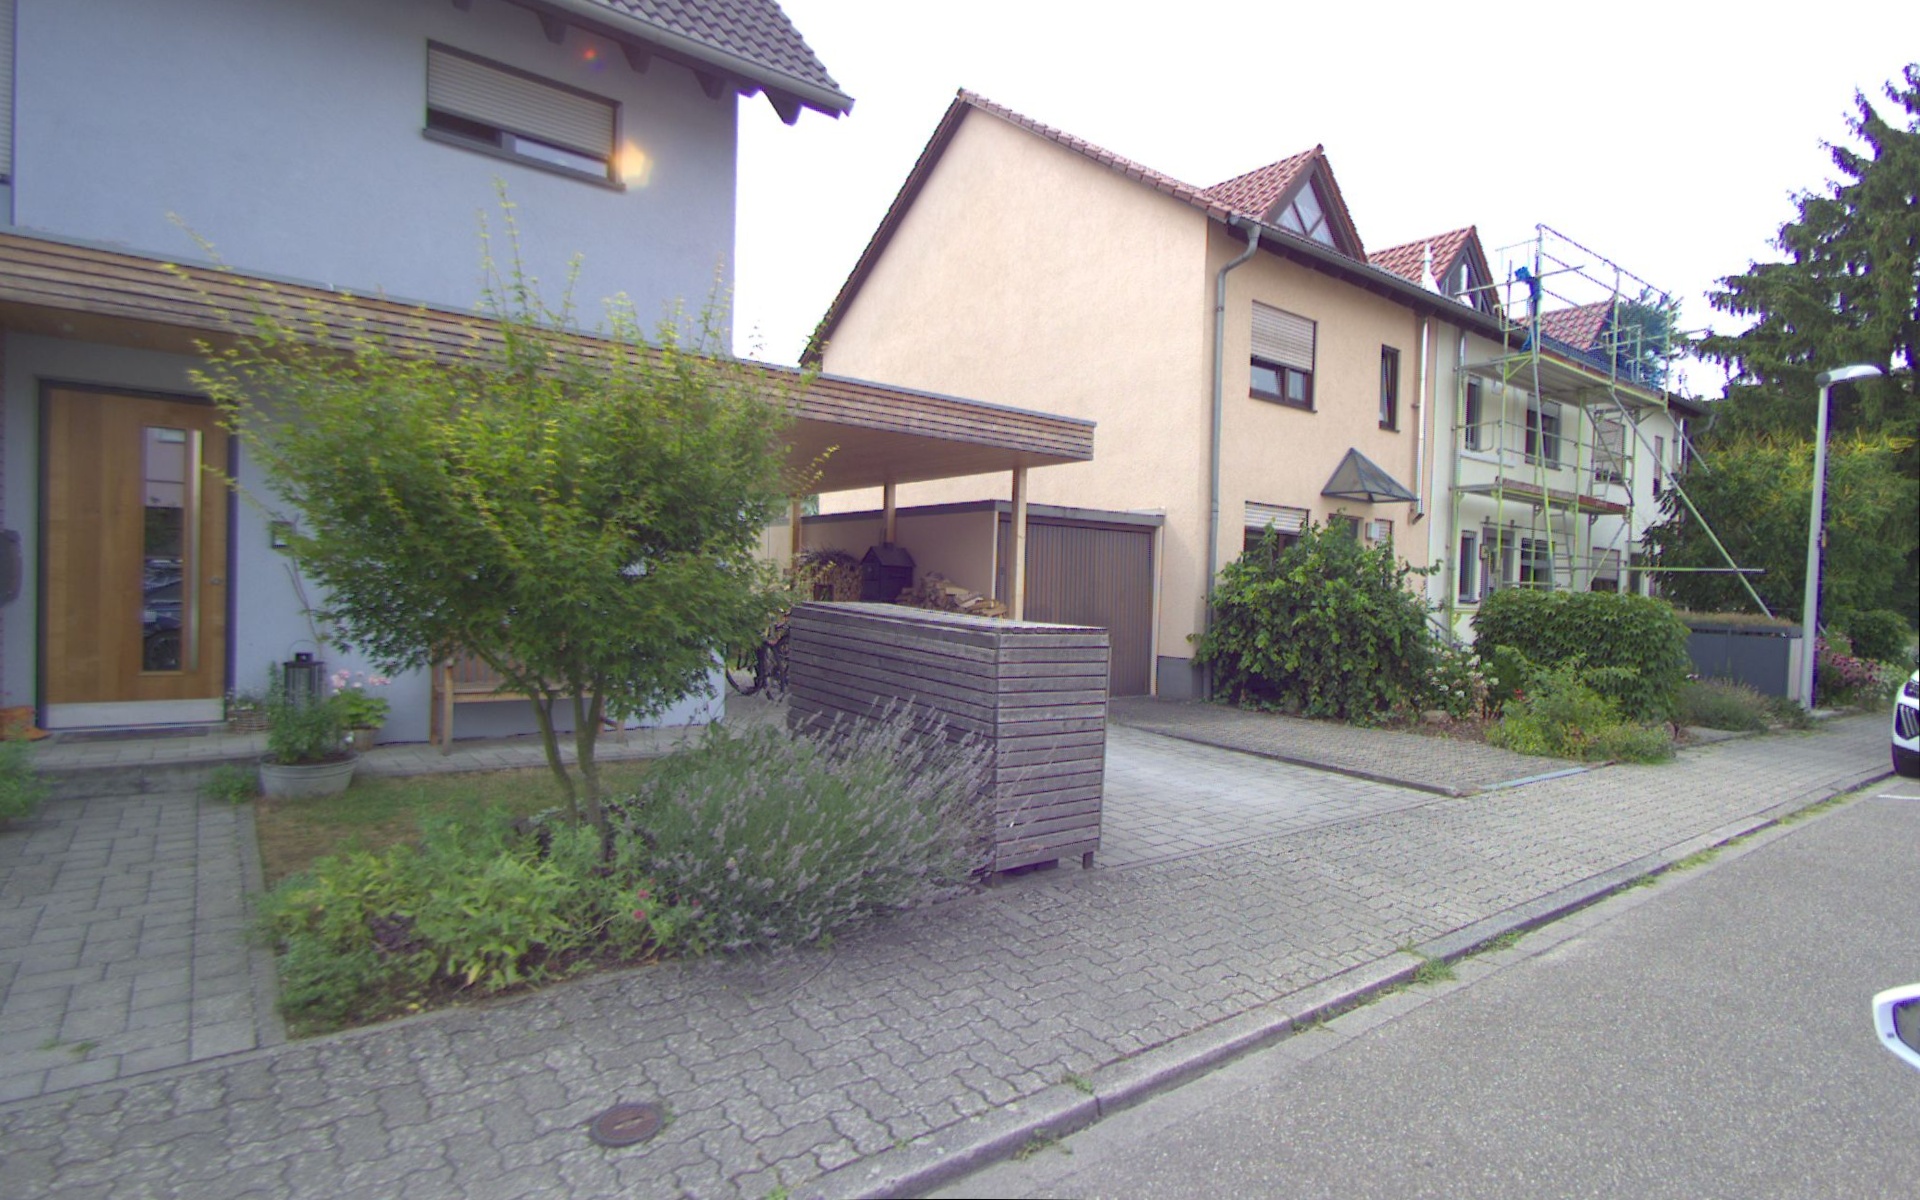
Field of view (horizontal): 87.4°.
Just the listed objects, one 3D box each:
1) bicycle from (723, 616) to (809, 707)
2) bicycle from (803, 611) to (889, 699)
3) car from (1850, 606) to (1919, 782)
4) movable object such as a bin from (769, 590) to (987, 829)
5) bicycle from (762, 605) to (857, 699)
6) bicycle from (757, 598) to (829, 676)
[{"bbox_3d":[-2.127,0.621,10.846,0.352,0.860,1.922,1,0,-28],"label":"bicycle"},{"bbox_3d":[-1.432,0.639,12.329,0.352,0.965,1.922,1,0,-28],"label":"bicycle"},{"bbox_3d":[10.757,0.895,10.045,4.592,1.577,1.919,1,0,-37],"label":"car"},{"bbox_3d":[-0.518,0.614,6.268,0.992,1.329,0.942,1,0,-38],"label":"movable object such as a bin"},{"bbox_3d":[-1.794,0.569,11.737,0.353,0.965,1.919,1,1,-32],"label":"bicycle"},{"bbox_3d":[-2.239,0.475,13.316,0.352,0.965,1.923,1,-1,-28],"label":"bicycle"}]
